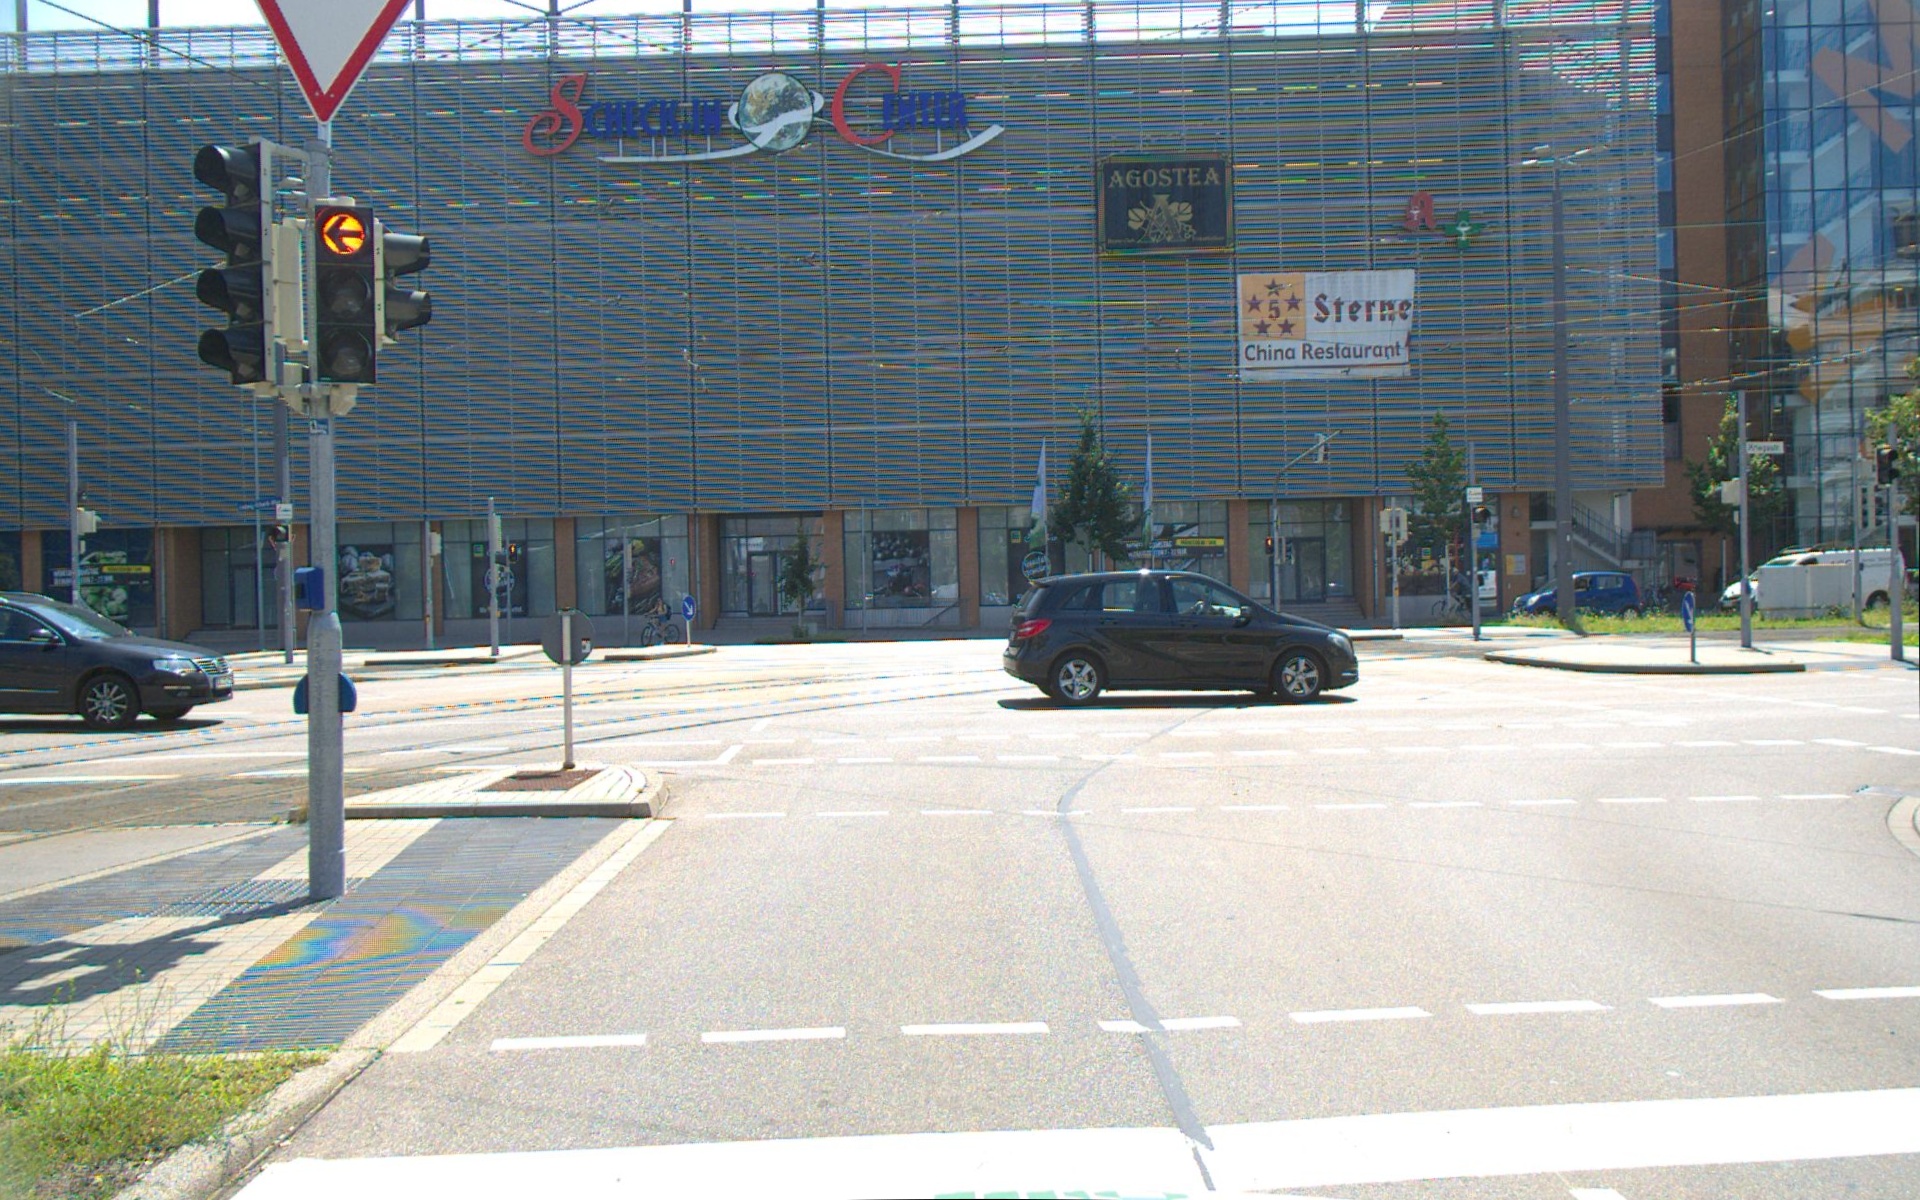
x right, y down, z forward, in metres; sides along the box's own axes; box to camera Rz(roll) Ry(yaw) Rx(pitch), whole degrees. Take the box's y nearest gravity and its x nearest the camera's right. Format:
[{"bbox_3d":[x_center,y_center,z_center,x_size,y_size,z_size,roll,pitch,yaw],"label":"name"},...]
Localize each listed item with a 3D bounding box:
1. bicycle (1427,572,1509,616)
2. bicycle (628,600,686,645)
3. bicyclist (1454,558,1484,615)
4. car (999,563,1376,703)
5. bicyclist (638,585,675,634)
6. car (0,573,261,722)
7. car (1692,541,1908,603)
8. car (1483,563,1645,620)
[{"bbox_3d":[18.567,-0.215,60.464,2.790,1.584,0.705,0,1,3],"label":"bicycle"},{"bbox_3d":[-10.112,0.740,55.322,1.039,1.414,3.026,0,1,7],"label":"bicycle"},{"bbox_3d":[18.607,-0.502,60.453,0.893,2.049,0.748,0,1,2],"label":"bicyclist"},{"bbox_3d":[2.676,0.361,20.149,4.234,1.580,1.999,-1,1,-4],"label":"car"},{"bbox_3d":[-10.127,0.316,55.225,1.017,1.599,0.778,0,1,7],"label":"bicyclist"},{"bbox_3d":[-10.839,0.513,19.005,4.761,1.608,1.998,-1,1,-6],"label":"car"},{"bbox_3d":[24.167,-0.809,47.681,5.357,1.697,1.998,-1,1,-6],"label":"car"},{"bbox_3d":[17.164,-0.255,47.116,3.906,1.565,1.881,0,1,-2],"label":"car"}]
